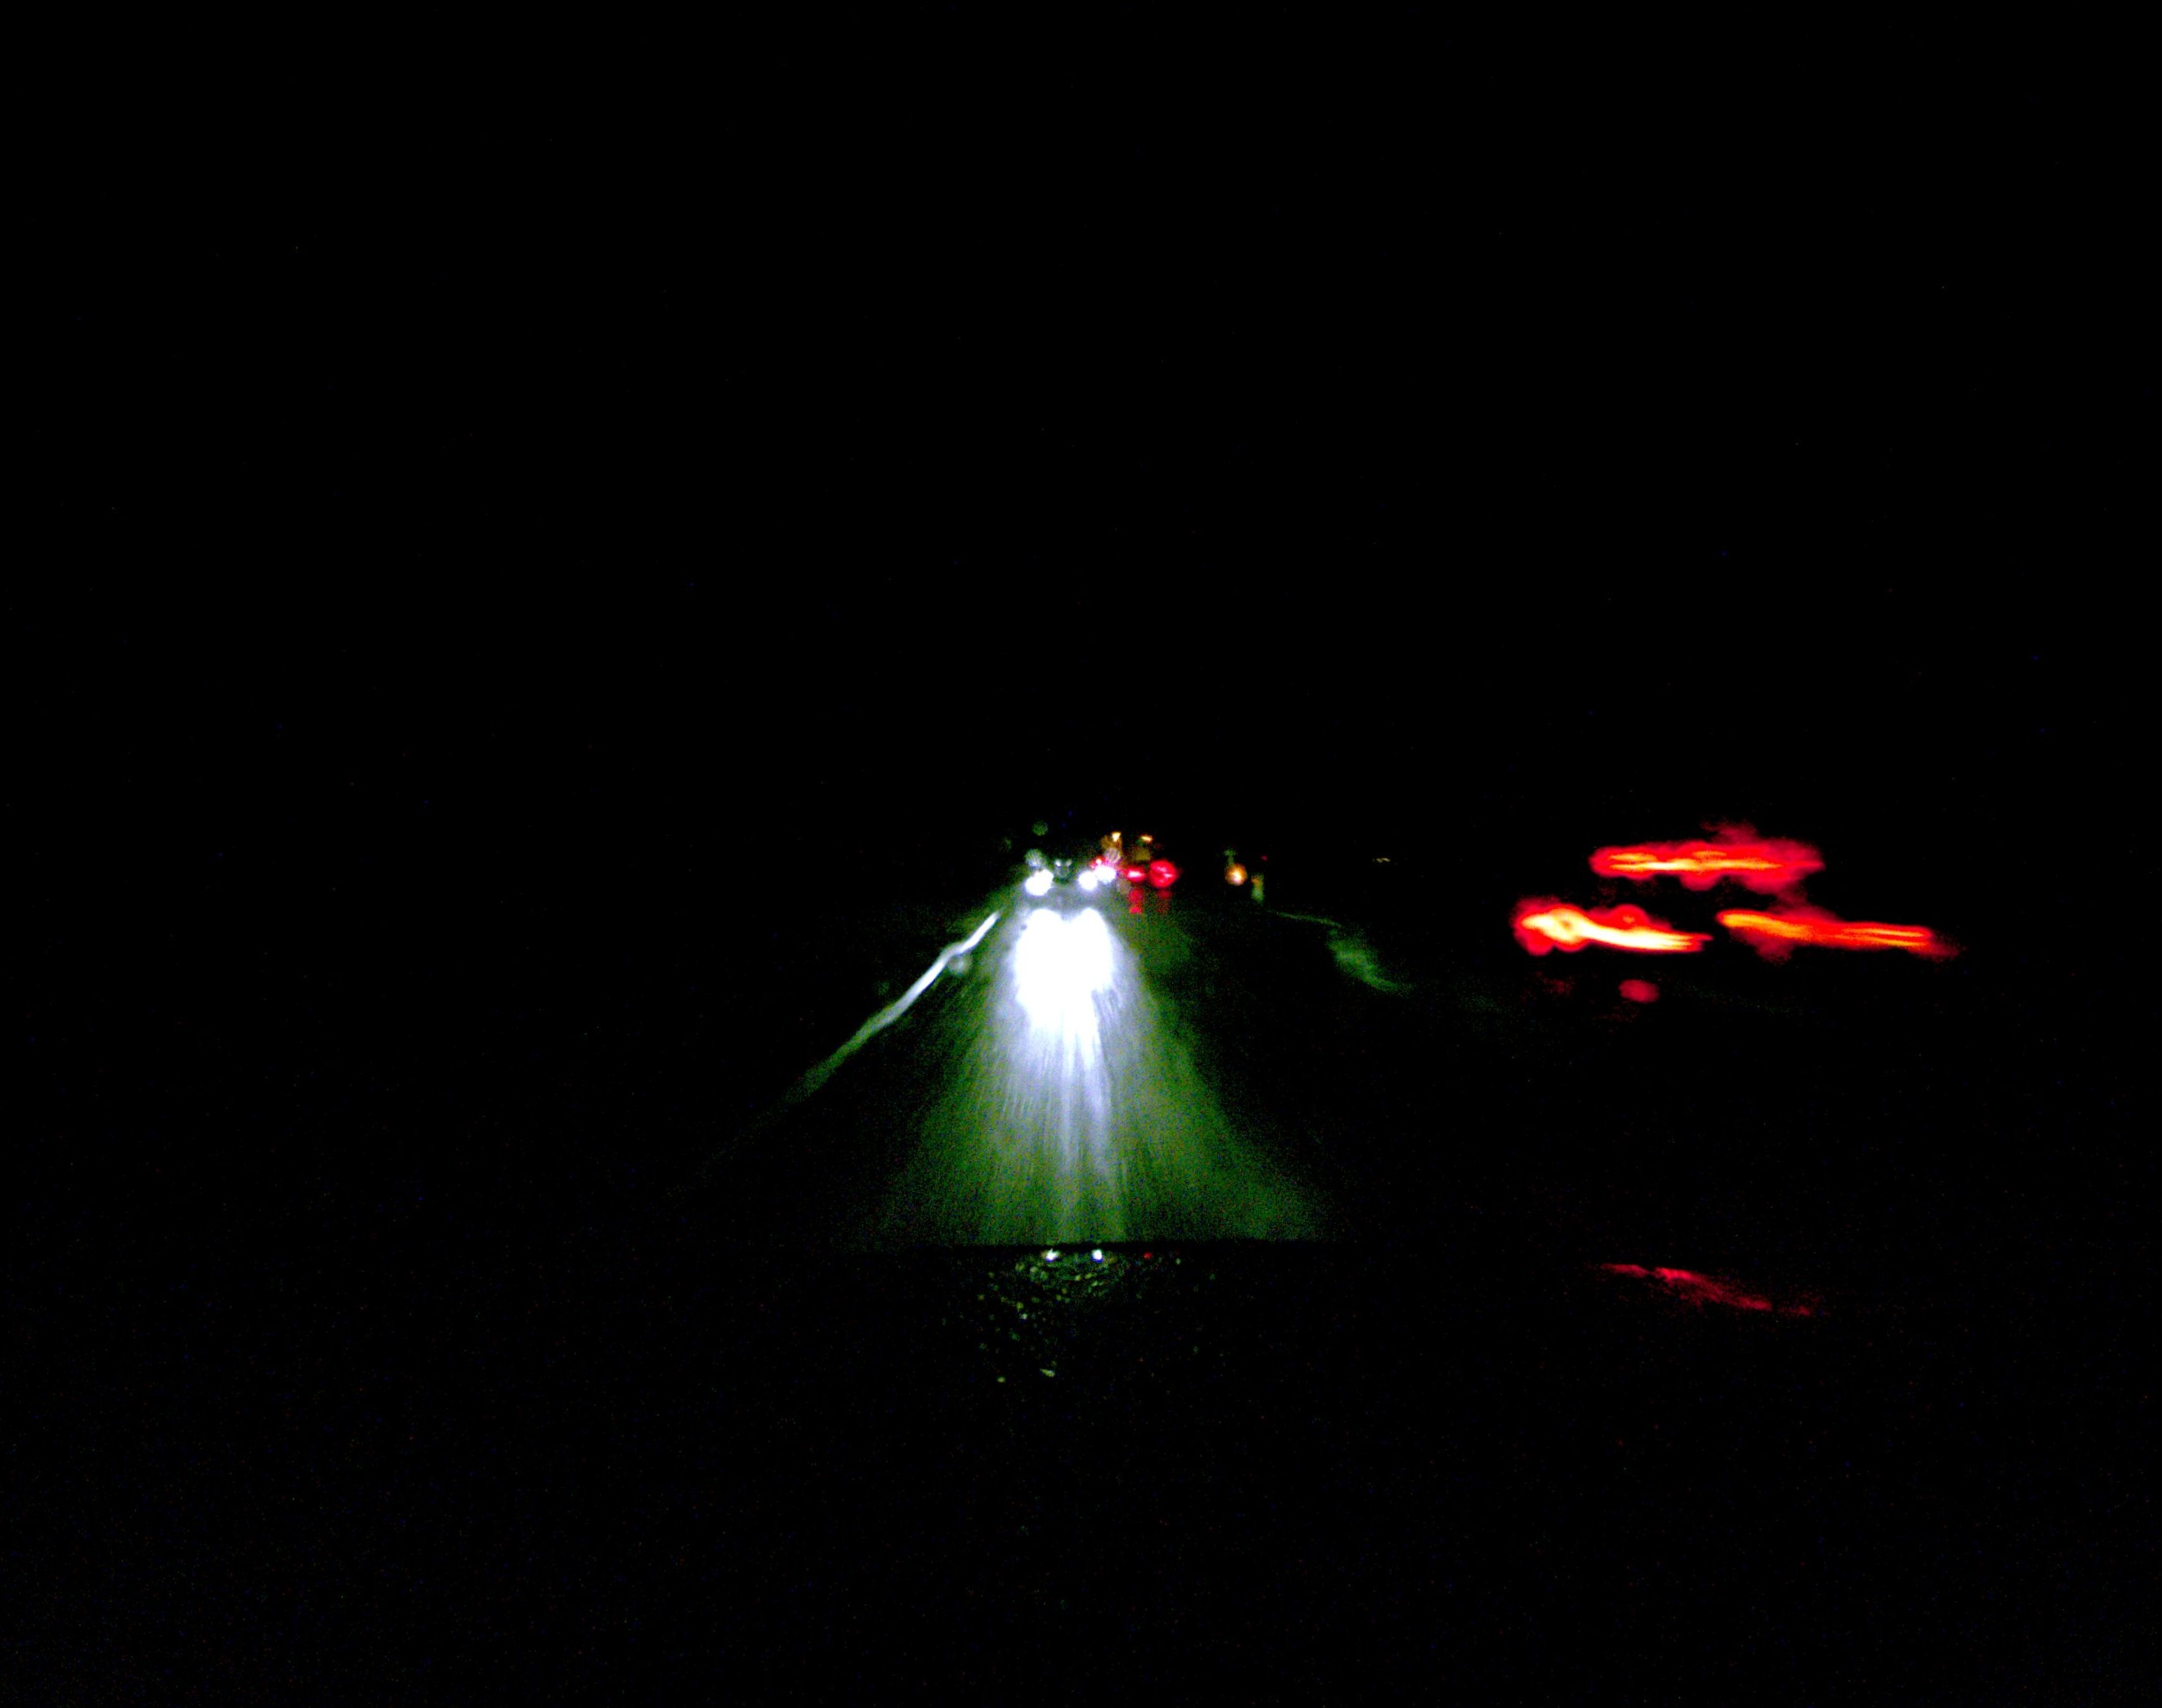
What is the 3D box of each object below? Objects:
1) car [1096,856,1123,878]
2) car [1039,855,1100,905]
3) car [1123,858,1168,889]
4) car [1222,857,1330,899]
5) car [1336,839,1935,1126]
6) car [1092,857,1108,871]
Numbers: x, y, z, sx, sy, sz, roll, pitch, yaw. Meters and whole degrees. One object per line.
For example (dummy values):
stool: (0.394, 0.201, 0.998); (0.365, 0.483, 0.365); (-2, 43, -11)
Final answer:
car: (2.042, 0.914, 55.036); (1.667, 1.551, 3.560); (1, 0, -2)
car: (-0.373, 0.822, 26.140); (1.901, 1.552, 3.999); (1, 0, -1)
car: (3.084, 0.927, 37.224); (1.760, 1.397, 4.487); (-1, -1, -1)
car: (9.890, 1.189, 38.755); (4.946, 1.827, 1.934); (3, 0, 0)
car: (3.731, 0.711, 6.213); (1.770, 1.533, 4.147); (-1, 0, -2)
car: (2.108, 1.103, 83.640); (1.603, 1.416, 3.551); (1, 0, -1)
